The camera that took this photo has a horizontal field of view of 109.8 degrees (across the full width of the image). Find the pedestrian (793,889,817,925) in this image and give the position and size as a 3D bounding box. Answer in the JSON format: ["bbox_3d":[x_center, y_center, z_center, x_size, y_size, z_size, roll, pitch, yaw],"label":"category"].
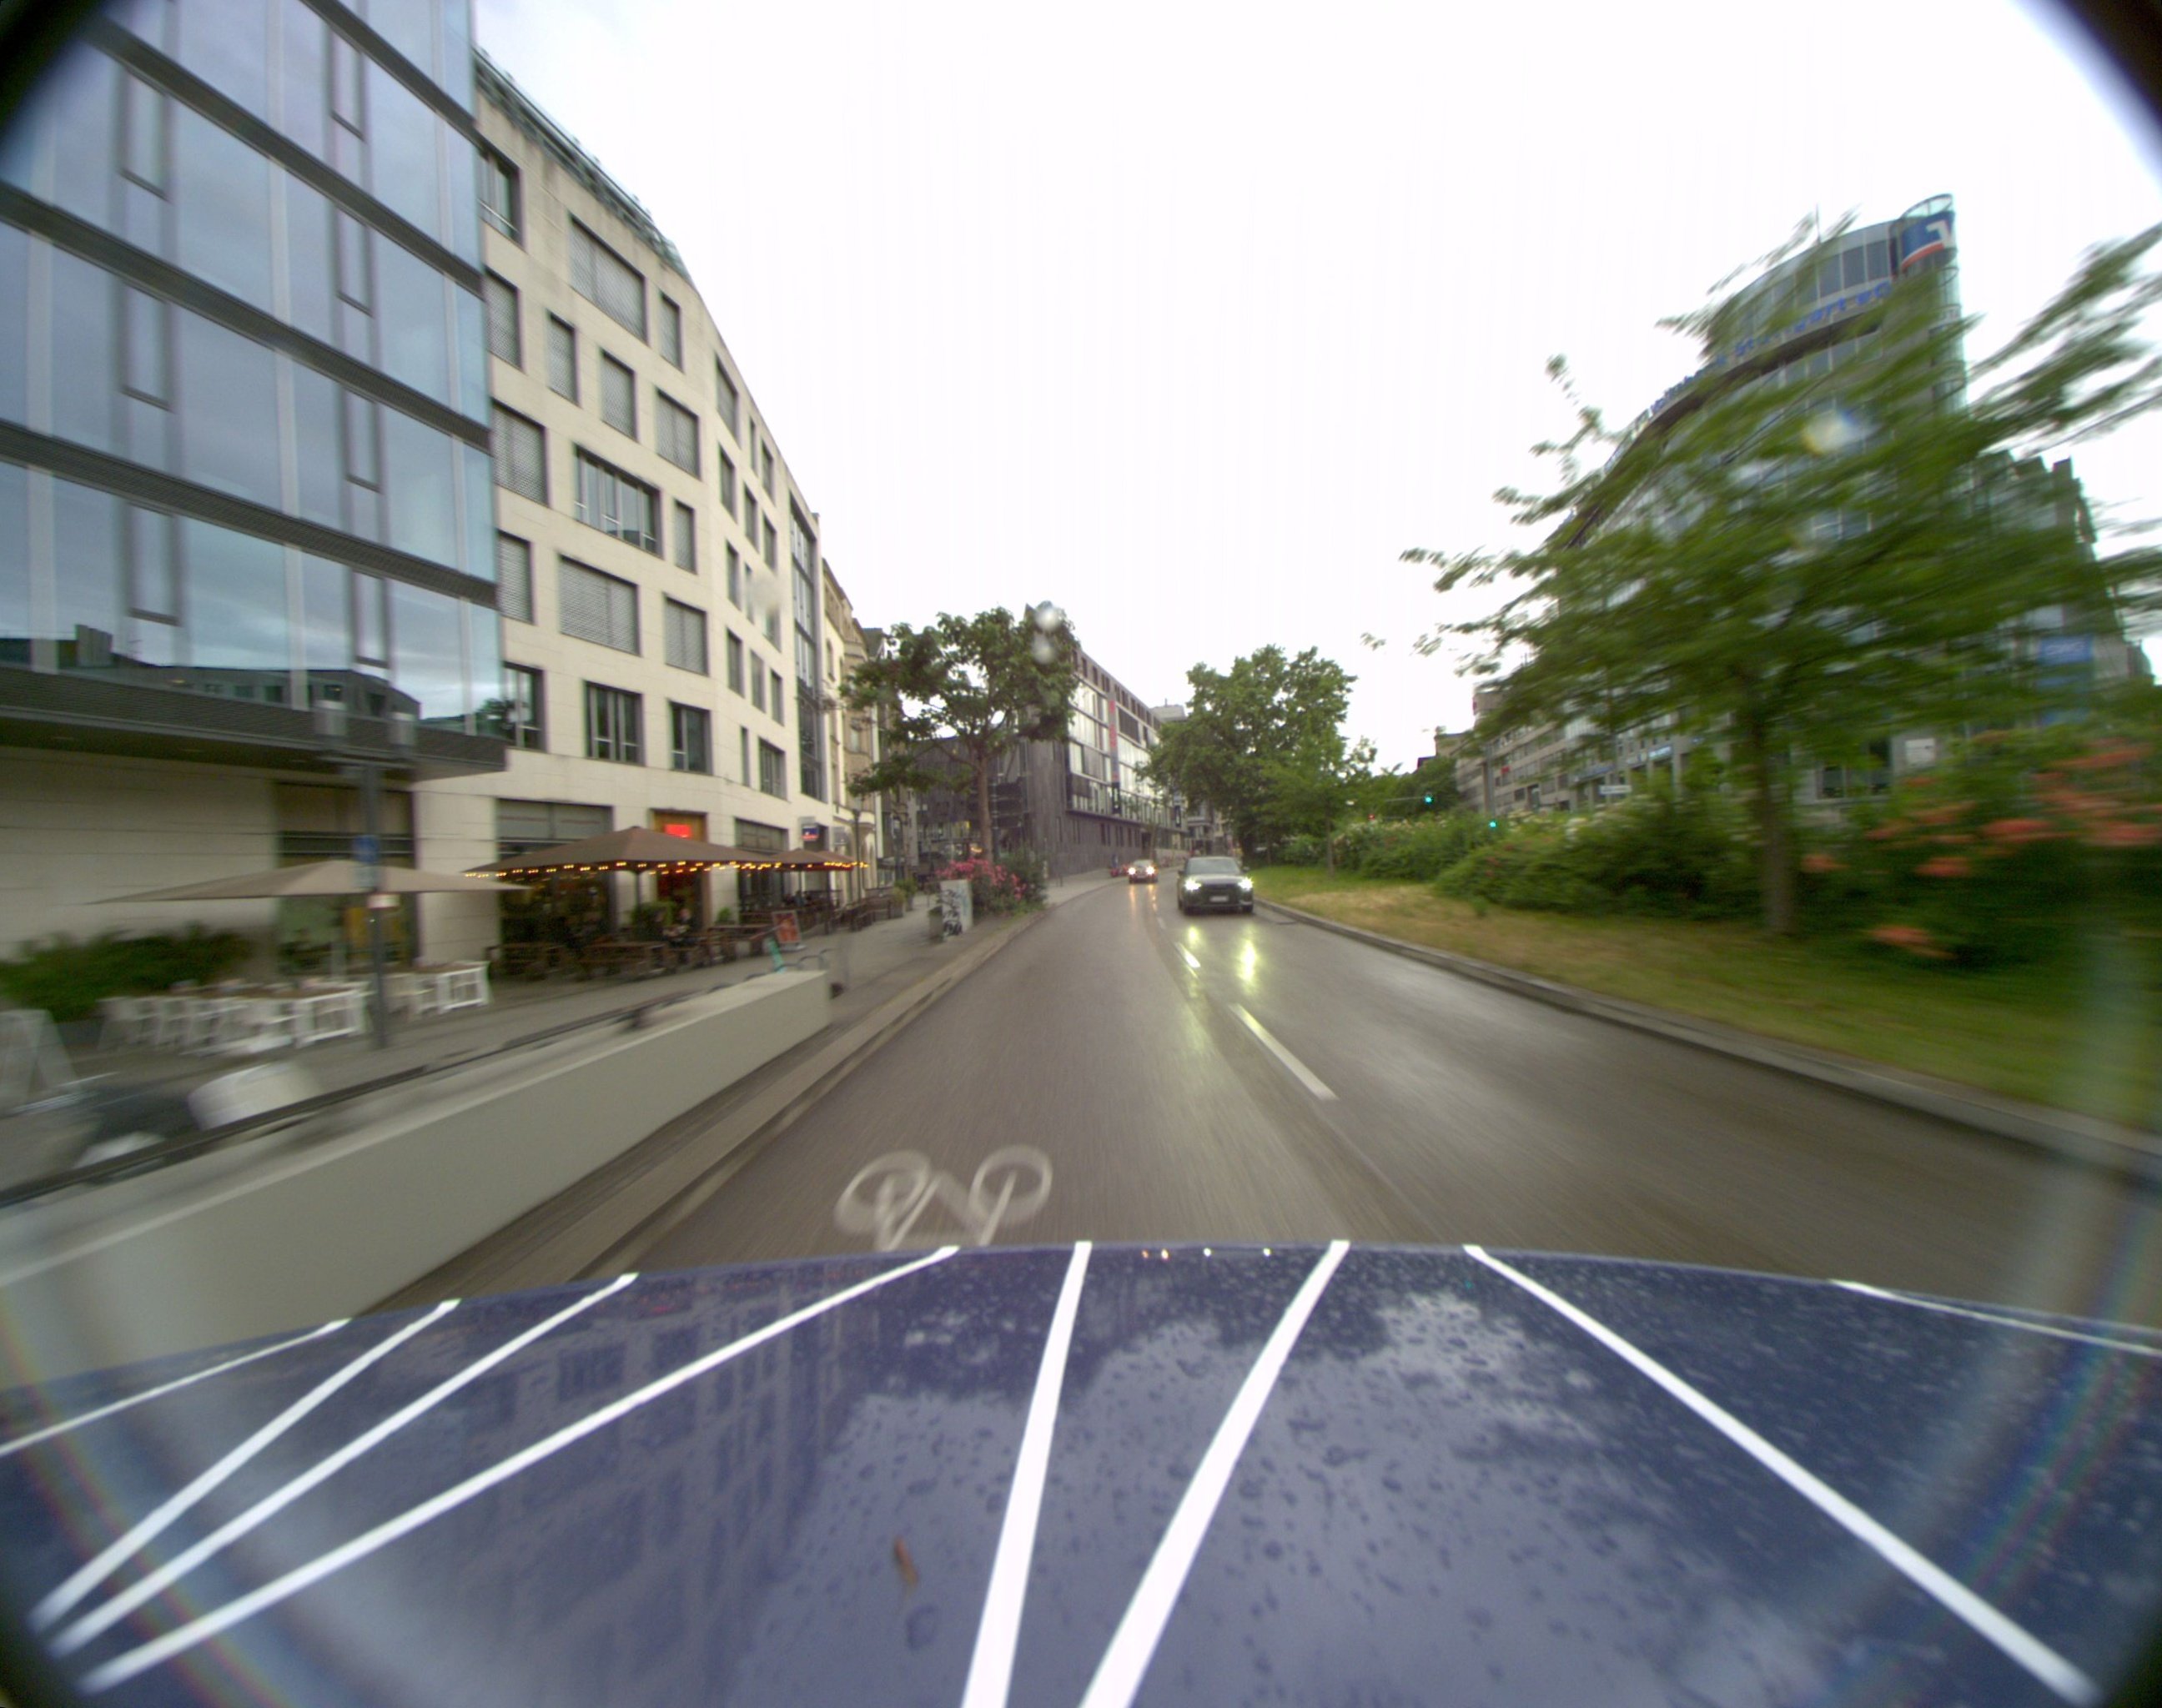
[{"bbox_3d":[-10.820,2.080,29.847,0.628,1.318,0.635,-6,0,-5],"label":"pedestrian"}]

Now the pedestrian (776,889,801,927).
[{"bbox_3d":[-10.994,2.034,28.589,0.628,1.318,0.635,-6,0,-5],"label":"pedestrian"}]

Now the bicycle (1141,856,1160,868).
[{"bbox_3d":[7.137,0.853,78.333,1.797,1.062,0.557,-5,1,14],"label":"bicycle"}]

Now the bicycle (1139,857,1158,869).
[{"bbox_3d":[6.832,0.909,76.907,1.797,1.062,0.557,-5,1,14],"label":"bicycle"}]

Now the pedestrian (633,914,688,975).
[{"bbox_3d":[-9.994,2.135,18.061,0.818,1.318,0.636,-6,0,15],"label":"pedestrian"}]

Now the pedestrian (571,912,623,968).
[{"bbox_3d":[-12.569,2.232,19.751,0.818,1.318,0.636,-6,0,15],"label":"pedestrian"}]

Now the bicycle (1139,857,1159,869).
[{"bbox_3d":[6.951,0.880,77.595,1.797,1.062,0.557,-5,1,14],"label":"bicycle"}]

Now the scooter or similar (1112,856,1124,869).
[{"bbox_3d":[3.888,0.857,79.209,0.778,1.298,1.337,-3,0,22],"label":"scooter or similar"}]

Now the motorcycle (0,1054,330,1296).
[{"bbox_3d":[-5.832,1.938,4.659,1.781,1.151,0.607,-4,0,1],"label":"motorcycle"}]

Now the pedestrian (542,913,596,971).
[{"bbox_3d":[-12.751,2.186,18.939,0.818,1.318,0.636,-6,0,15],"label":"pedestrian"}]

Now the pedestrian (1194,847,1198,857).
[{"bbox_3d":[20.703,-0.332,136.793,0.484,1.689,0.580,-1,1,17],"label":"pedestrian"}]

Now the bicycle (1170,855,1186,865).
[{"bbox_3d":[11.375,0.723,88.734,1.732,1.133,0.690,-2,1,13],"label":"bicycle"}]

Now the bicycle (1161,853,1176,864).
[{"bbox_3d":[9.709,0.514,84.368,1.537,1.134,0.689,-3,2,13],"label":"bicycle"}]

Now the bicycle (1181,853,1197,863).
[{"bbox_3d":[13.220,0.490,92.974,1.732,1.176,0.690,-2,1,13],"label":"bicycle"}]

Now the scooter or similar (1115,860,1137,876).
[{"bbox_3d":[4.040,1.278,68.775,1.795,1.236,0.596,-5,1,14],"label":"scooter or similar"}]

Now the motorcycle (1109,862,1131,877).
[{"bbox_3d":[3.488,1.390,67.676,1.795,1.133,0.596,-5,1,14],"label":"motorcycle"}]

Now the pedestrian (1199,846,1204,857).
[{"bbox_3d":[21.642,-0.438,136.527,0.722,1.820,0.747,-1,1,17],"label":"pedestrian"}]

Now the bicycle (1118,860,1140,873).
[{"bbox_3d":[4.473,1.152,70.760,1.797,1.101,0.670,-5,1,13],"label":"bicycle"}]

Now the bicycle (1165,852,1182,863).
[{"bbox_3d":[10.450,0.437,85.784,1.708,1.134,0.689,-3,2,13],"label":"bicycle"}]

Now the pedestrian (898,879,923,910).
[{"bbox_3d":[-7.655,1.811,34.190,0.775,1.318,0.636,-6,0,14],"label":"pedestrian"}]

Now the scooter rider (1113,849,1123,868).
[{"bbox_3d":[3.862,0.454,79.202,0.778,2.009,0.925,-3,1,22],"label":"scooter rider"}]

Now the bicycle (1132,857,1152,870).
[{"bbox_3d":[6.021,0.966,75.270,1.797,1.101,0.670,-5,1,13],"label":"bicycle"}]

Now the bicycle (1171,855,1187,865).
[{"bbox_3d":[11.579,0.708,89.620,1.732,1.133,0.690,-2,1,13],"label":"bicycle"}]

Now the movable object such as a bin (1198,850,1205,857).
[{"bbox_3d":[21.458,-0.127,135.291,0.803,1.258,1.790,-1,1,17],"label":"movable object such as a bin"}]

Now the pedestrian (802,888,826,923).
[{"bbox_3d":[-10.784,2.068,30.712,0.628,1.318,0.635,-6,0,-5],"label":"pedestrian"}]

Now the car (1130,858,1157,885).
[{"bbox_3d":[3.921,1.081,48.086,1.594,1.501,3.710,-3,0,3],"label":"car"}]

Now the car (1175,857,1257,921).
[{"bbox_3d":[3.755,0.925,21.822,1.865,1.509,4.346,-3,0,5],"label":"car"}]

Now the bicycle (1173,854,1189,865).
[{"bbox_3d":[11.898,0.677,90.371,1.732,1.176,0.690,-2,1,13],"label":"bicycle"}]

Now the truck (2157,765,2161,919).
[{"bbox_3d":[15.917,-0.013,6.036,3.373,2.496,8.480,-3,0,8],"label":"truck"}]

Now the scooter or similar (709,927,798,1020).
[{"bbox_3d":[-5.052,1.833,11.762,1.094,1.264,0.481,-4,0,-10],"label":"scooter or similar"}]

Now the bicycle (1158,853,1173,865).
[{"bbox_3d":[9.332,0.548,83.665,1.537,1.134,0.663,-3,2,13],"label":"bicycle"}]

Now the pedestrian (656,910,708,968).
[{"bbox_3d":[-9.935,2.122,18.940,0.818,1.318,0.636,-6,0,15],"label":"pedestrian"}]
